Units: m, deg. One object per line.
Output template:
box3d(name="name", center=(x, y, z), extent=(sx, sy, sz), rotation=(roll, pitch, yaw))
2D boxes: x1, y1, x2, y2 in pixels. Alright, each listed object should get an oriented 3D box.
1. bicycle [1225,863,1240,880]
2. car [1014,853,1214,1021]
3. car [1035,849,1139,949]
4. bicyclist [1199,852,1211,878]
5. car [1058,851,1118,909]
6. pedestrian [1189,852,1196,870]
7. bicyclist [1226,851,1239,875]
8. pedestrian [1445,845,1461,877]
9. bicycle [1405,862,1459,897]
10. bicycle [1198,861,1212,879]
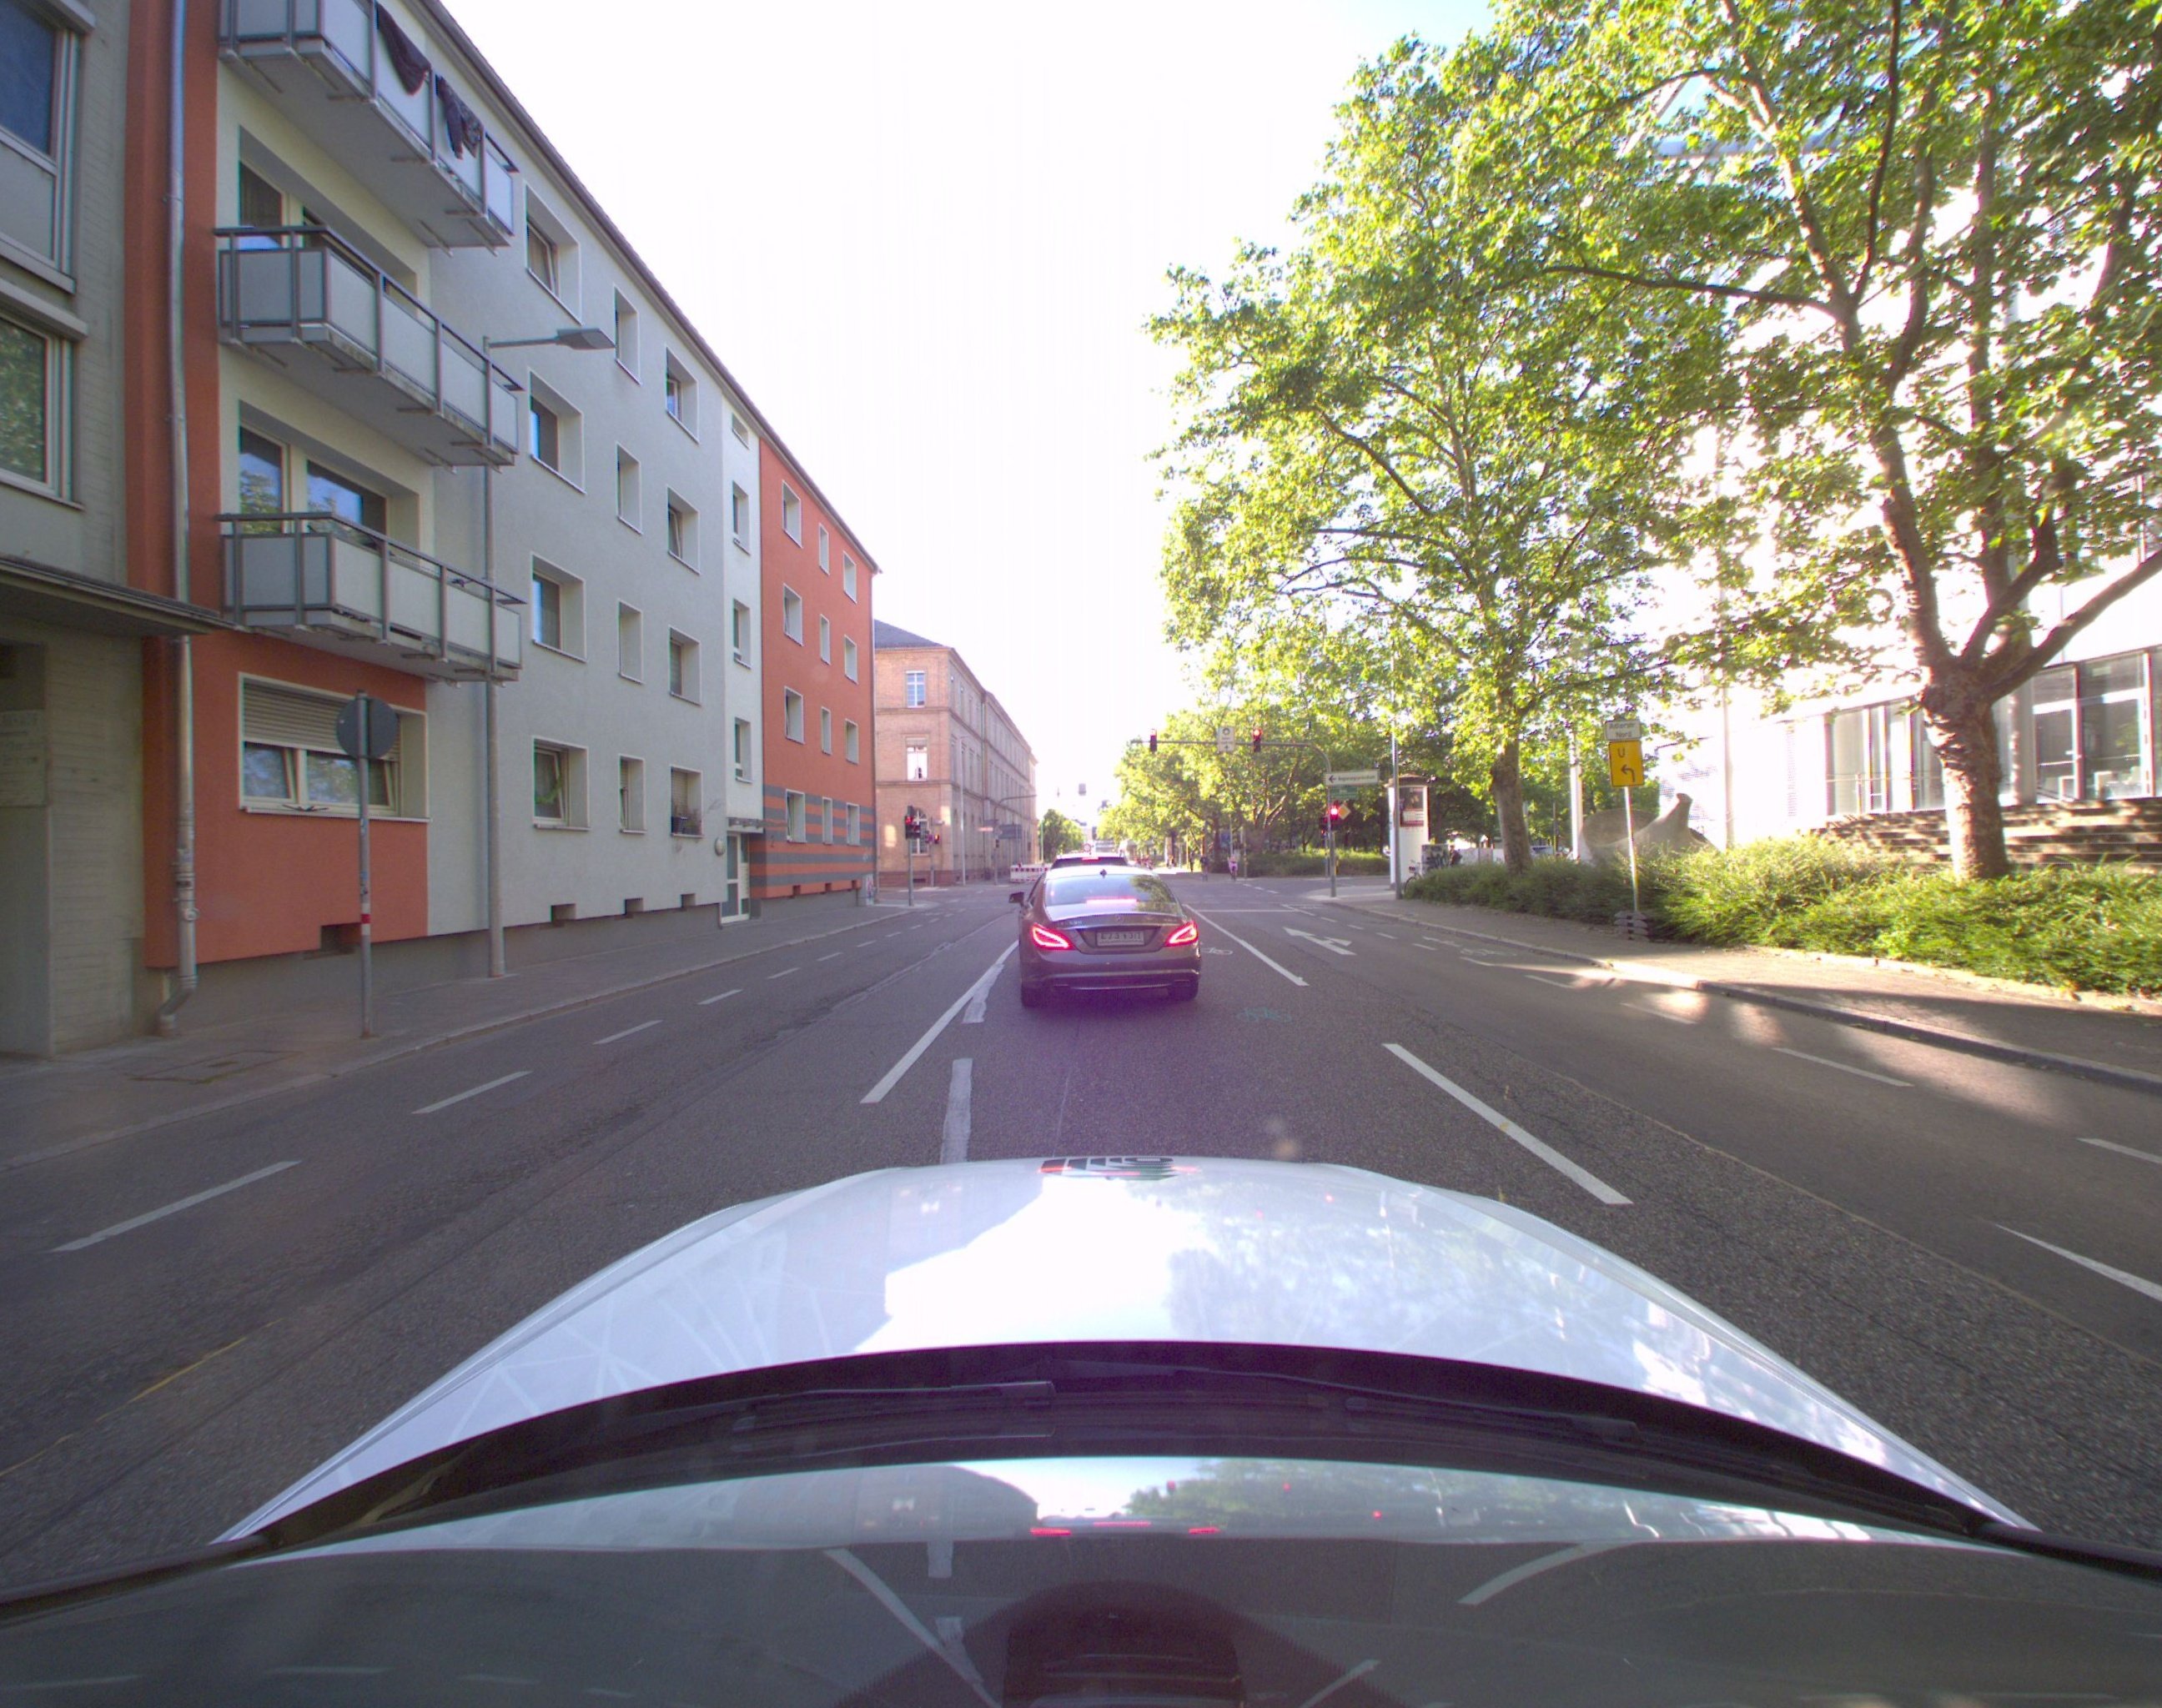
box3d(name="bicycle", center=(8.913, 1.010, 48.000), extent=(0.598, 0.985, 1.882), rotation=(0, 0, 2))
box3d(name="car", center=(0.133, 0.768, 9.642), extent=(1.818, 1.477, 4.345), rotation=(-1, 0, -5))
box3d(name="car", center=(0.120, 0.752, 15.414), extent=(1.676, 1.625, 3.841), rotation=(-1, 0, 0))
box3d(name="bicyclist", center=(7.307, 0.637, 48.054), extent=(0.608, 1.516, 0.890), rotation=(0, 0, 1))
box3d(name="car", center=(0.225, 0.755, 25.222), extent=(1.676, 1.625, 3.841), rotation=(-1, 0, 0))
box3d(name="pedestrian", center=(10.633, 0.663, 77.728), extent=(0.557, 1.678, 0.565), rotation=(-1, 0, 1))
box3d(name="bicyclist", center=(8.915, 0.539, 47.878), extent=(0.598, 1.402, 0.931), rotation=(0, 0, 1))
box3d(name="pedestrian", center=(20.929, 0.393, 45.787), extent=(0.617, 1.784, 0.631), rotation=(-1, 0, 4))
box3d(name="bicycle", center=(10.871, 0.773, 25.231), extent=(1.411, 1.037, 0.538), rotation=(-1, 0, -2))
box3d(name="bicycle", center=(7.303, 0.939, 48.000), extent=(0.608, 1.026, 1.732), rotation=(0, 0, 2))
